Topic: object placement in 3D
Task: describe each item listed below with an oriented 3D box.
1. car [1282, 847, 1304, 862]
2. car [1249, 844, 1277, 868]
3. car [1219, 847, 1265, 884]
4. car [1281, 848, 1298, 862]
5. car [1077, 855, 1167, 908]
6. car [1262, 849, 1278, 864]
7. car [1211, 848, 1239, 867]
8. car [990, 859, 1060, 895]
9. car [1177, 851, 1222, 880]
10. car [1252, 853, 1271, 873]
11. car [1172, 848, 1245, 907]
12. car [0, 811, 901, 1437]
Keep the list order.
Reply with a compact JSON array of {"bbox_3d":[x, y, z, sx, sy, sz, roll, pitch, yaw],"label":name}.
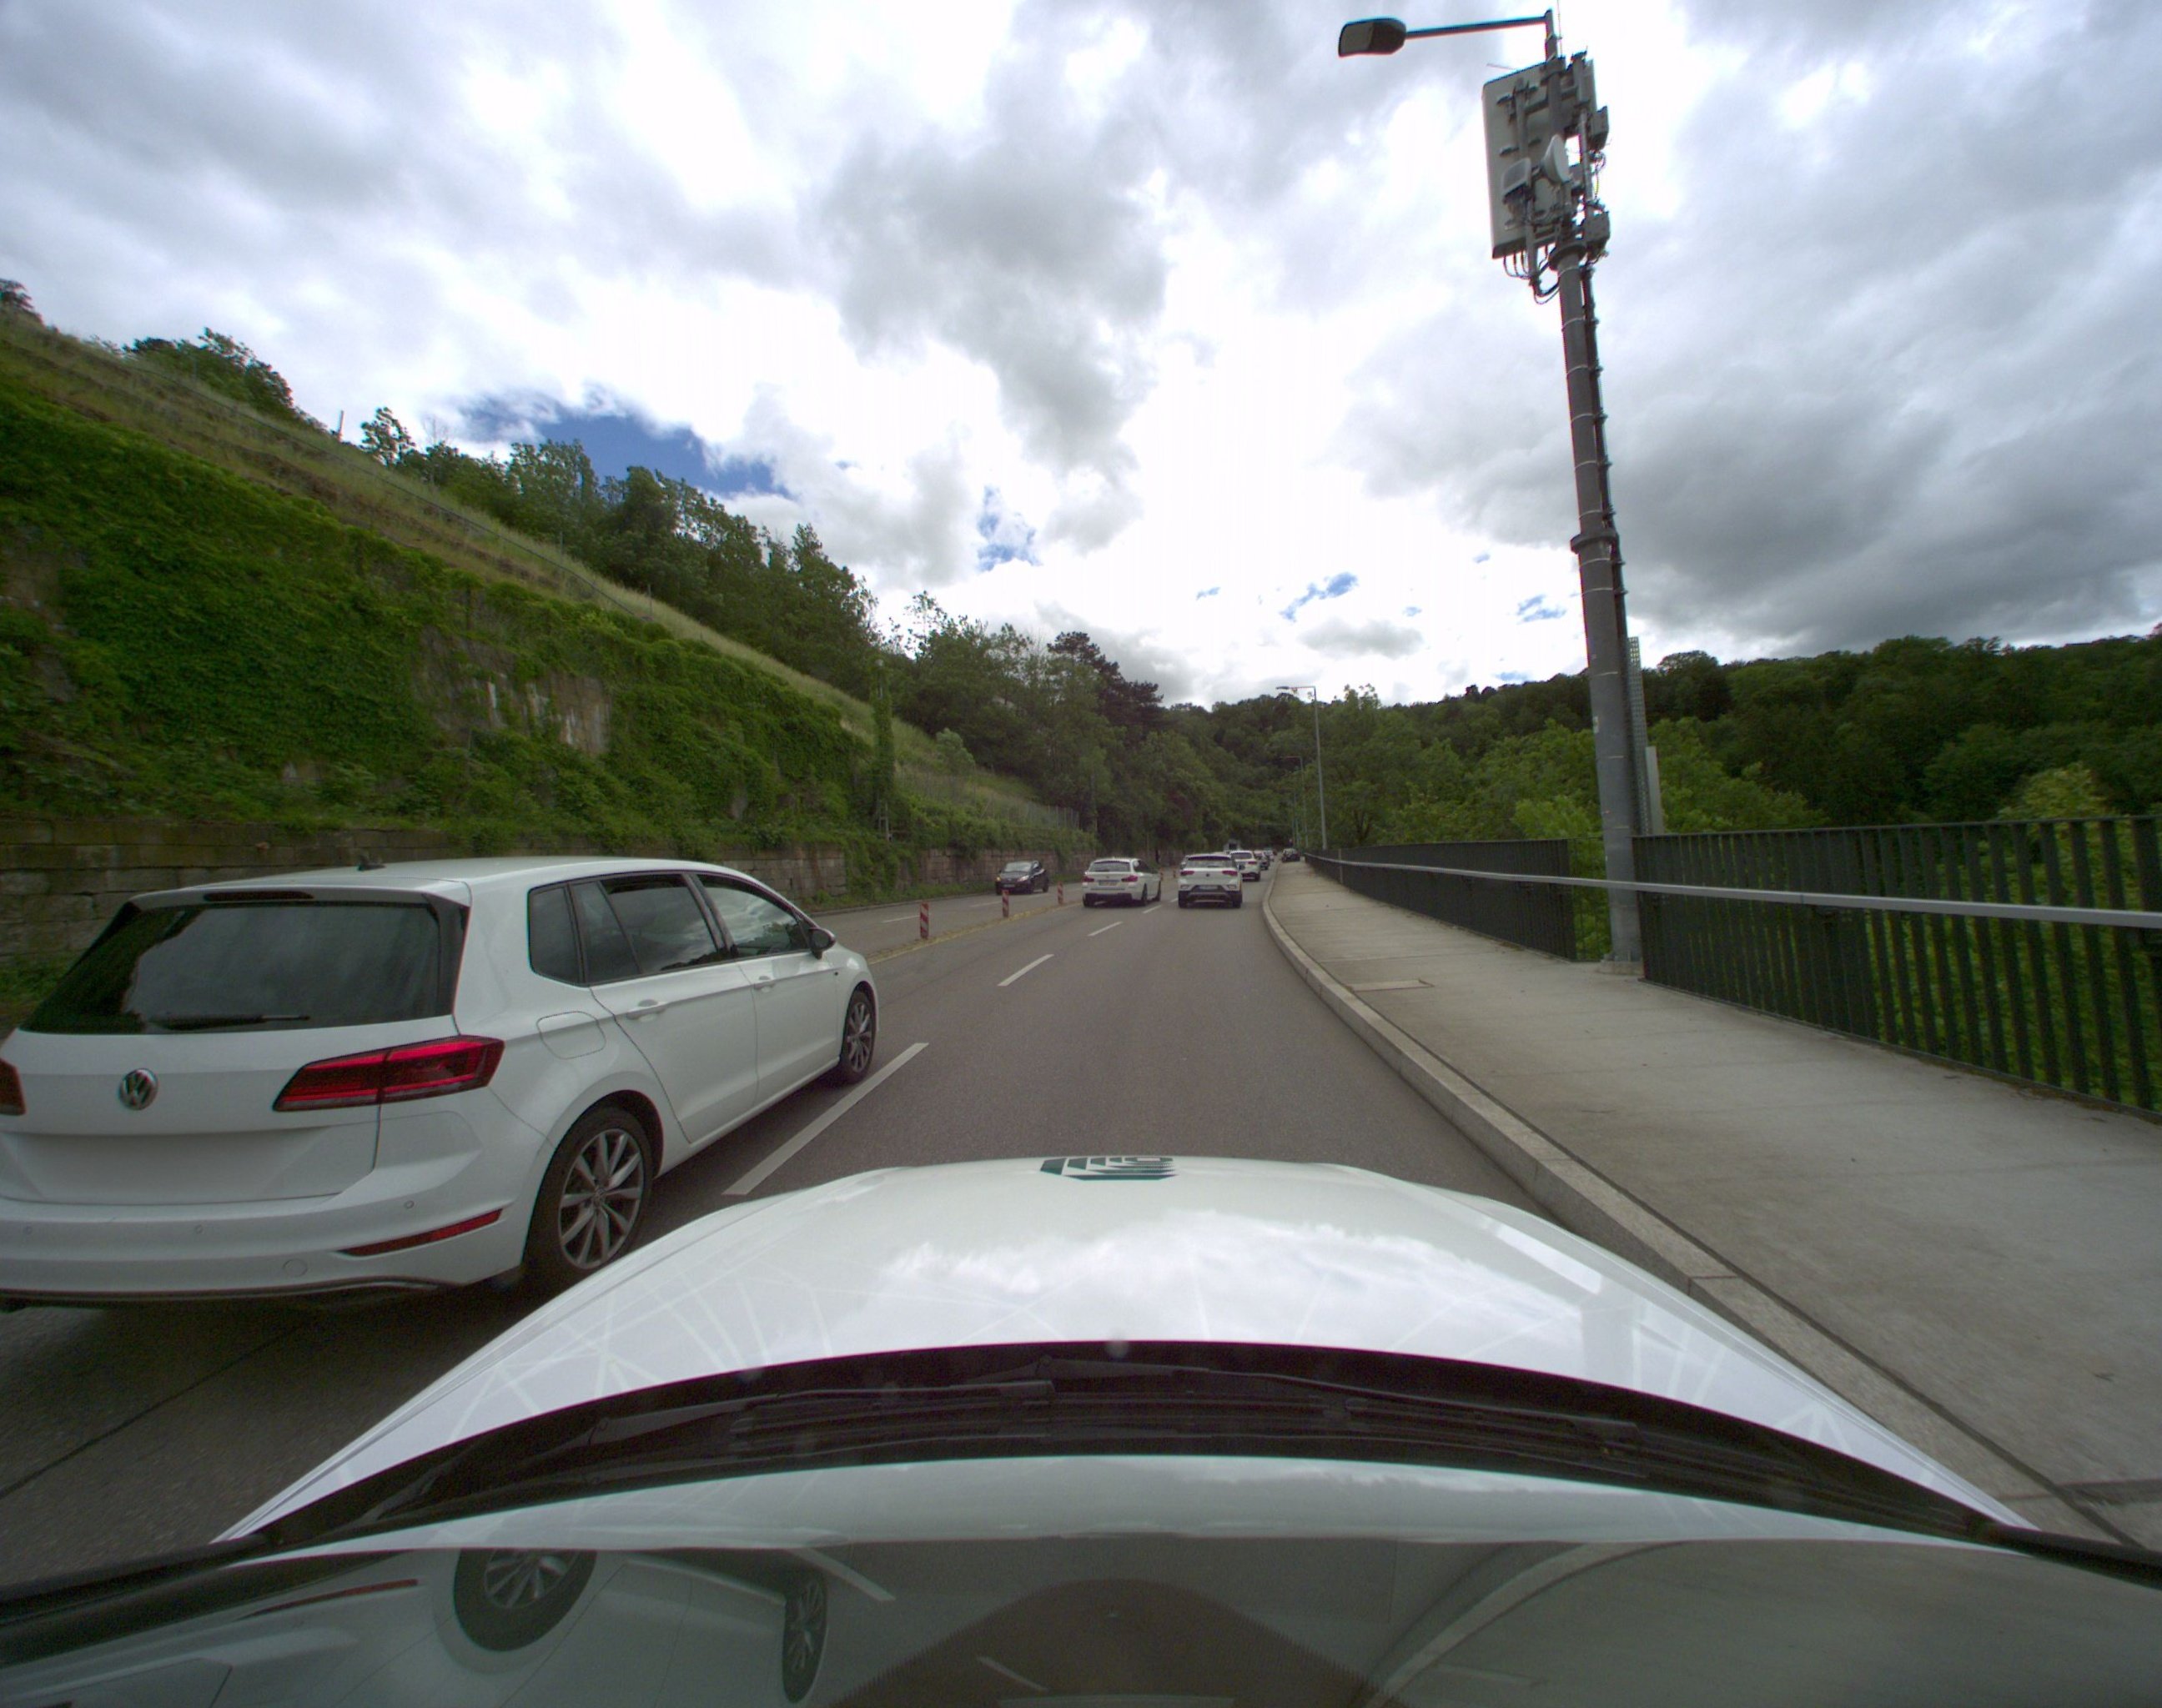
[{"bbox_3d":[22.643,0.072,87.151,1.804,1.508,4.009,-2,0,8],"label":"car"},{"bbox_3d":[14.248,0.170,63.783,1.980,1.717,4.013,-1,-1,12],"label":"car"},{"bbox_3d":[8.724,0.582,43.820,1.979,1.718,4.130,-6,-1,15],"label":"car"},{"bbox_3d":[26.682,0.096,104.286,1.979,1.718,4.130,-2,1,14],"label":"car"},{"bbox_3d":[1.387,0.795,25.439,1.814,1.459,4.504,-2,0,15],"label":"car"},{"bbox_3d":[24.818,0.356,106.817,1.980,1.860,4.014,-1,-1,13],"label":"car"},{"bbox_3d":[12.944,0.321,73.002,1.978,1.503,4.688,-3,0,16],"label":"car"},{"bbox_3d":[-2.409,0.987,35.906,1.693,1.442,4.018,-1,0,18],"label":"car"},{"bbox_3d":[6.938,0.611,47.359,1.979,1.503,4.687,0,1,15],"label":"car"},{"bbox_3d":[17.125,0.859,77.291,1.732,1.781,3.546,-1,-1,13],"label":"car"},{"bbox_3d":[3.897,0.637,24.407,1.815,1.606,4.015,0,0,14],"label":"car"},{"bbox_3d":[-2.491,0.717,4.295,1.813,1.580,4.361,-1,-1,4],"label":"car"}]
